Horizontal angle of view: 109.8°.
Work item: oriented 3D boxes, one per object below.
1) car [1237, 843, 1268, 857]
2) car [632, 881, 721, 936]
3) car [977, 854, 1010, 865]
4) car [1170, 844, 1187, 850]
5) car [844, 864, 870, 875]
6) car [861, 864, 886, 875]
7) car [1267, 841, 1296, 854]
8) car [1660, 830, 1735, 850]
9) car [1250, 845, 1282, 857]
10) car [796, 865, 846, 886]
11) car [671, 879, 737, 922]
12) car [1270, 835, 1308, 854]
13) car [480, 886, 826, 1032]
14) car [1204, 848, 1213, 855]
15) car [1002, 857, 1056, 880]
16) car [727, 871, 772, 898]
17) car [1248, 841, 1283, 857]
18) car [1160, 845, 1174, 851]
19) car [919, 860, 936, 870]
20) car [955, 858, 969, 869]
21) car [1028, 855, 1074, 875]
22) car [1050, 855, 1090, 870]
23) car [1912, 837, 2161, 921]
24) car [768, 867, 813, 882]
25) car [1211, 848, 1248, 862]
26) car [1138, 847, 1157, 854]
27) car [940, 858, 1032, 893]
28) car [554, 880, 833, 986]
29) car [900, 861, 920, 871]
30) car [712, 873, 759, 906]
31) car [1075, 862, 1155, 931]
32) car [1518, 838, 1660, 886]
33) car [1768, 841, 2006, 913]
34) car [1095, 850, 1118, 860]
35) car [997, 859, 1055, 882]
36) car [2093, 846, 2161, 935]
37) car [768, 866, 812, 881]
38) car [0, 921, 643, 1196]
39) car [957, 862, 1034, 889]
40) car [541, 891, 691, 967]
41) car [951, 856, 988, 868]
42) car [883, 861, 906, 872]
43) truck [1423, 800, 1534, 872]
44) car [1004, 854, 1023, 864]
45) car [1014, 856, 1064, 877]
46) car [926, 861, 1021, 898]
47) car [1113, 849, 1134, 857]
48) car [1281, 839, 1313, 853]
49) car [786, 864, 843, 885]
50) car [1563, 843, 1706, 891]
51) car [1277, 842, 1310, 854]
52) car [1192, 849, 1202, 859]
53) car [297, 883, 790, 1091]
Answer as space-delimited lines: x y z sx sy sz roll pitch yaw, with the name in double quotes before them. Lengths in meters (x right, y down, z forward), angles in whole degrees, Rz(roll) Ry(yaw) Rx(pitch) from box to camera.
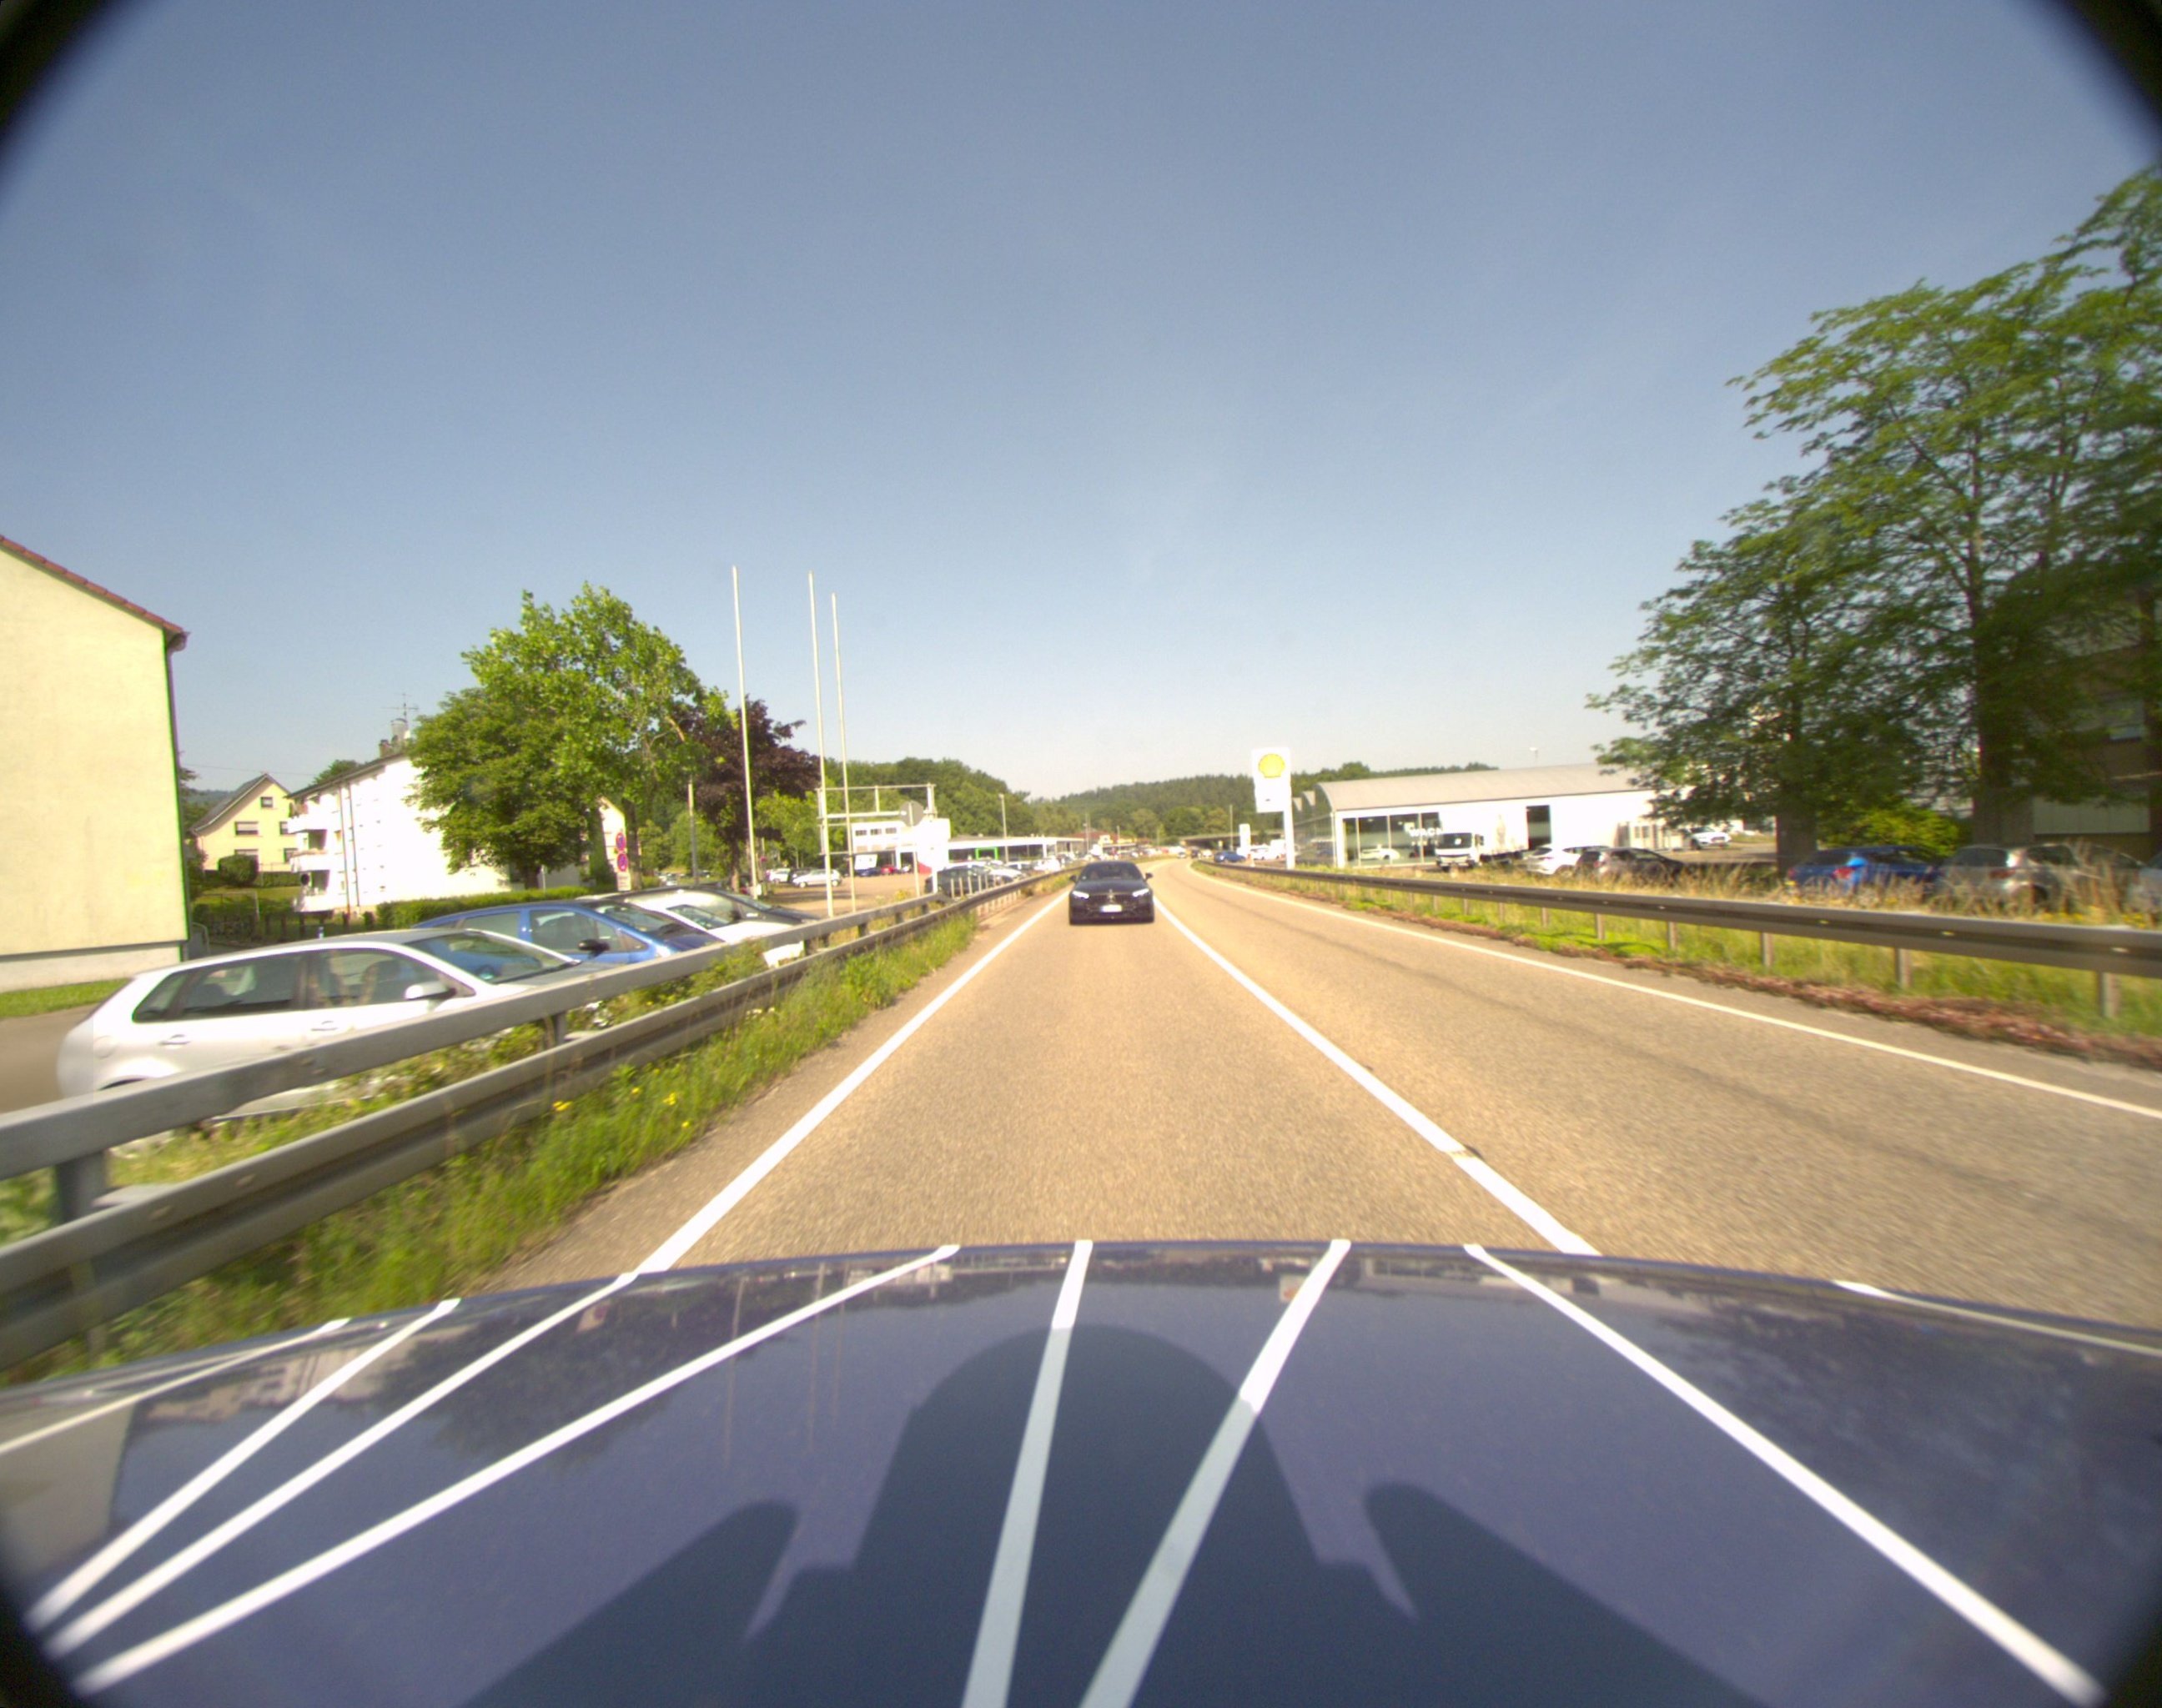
"car" 27.584 -0.672 122.635 4.679 1.847 2.145 -4 0 9
"car" -13.078 1.701 24.835 1.710 1.397 4.477 -3 1 -18
"car" -13.895 0.921 120.455 4.743 1.556 1.933 -1 1 12
"car" 28.464 -2.038 221.493 4.566 1.456 1.879 -1 1 17
"car" -35.241 2.478 119.511 1.836 1.537 4.467 -1 1 15
"car" -32.498 2.352 119.045 1.836 1.537 4.466 -1 1 13
"car" 34.278 -1.147 129.763 4.453 1.829 1.988 -5 0 9
"car" 39.823 -0.868 49.170 1.726 1.193 4.001 -3 0 3
"car" 25.934 -0.361 106.359 4.236 1.395 1.893 -4 1 -30
"car" -21.301 1.717 62.405 3.769 1.513 1.654 -3 1 -19
"car" -14.652 1.758 29.729 1.710 1.397 3.657 -3 1 -18
"car" 34.576 -1.625 126.397 5.731 2.729 2.287 -4 1 11
"car" -6.126 1.466 11.346 3.999 1.441 1.763 -6 1 -8
"car" 30.809 -0.639 183.367 1.795 1.620 4.231 -1 1 13
"car" -4.035 1.112 59.301 3.854 1.559 1.808 -2 1 7
"car" -19.885 1.784 45.734 1.916 1.397 4.518 -3 1 -18
"car" 27.059 -0.736 111.667 4.801 1.970 2.230 -5 0 9
"car" 23.798 -1.670 209.531 3.542 1.456 1.807 -1 1 17
"car" -24.952 1.802 123.643 2.002 1.537 4.608 -2 1 -2
"car" -19.547 1.565 124.422 2.004 1.537 4.604 -2 1 -13
"car" -2.738 1.023 69.906 3.995 1.630 1.888 -2 1 7
"car" -1.220 0.939 83.962 4.167 1.536 1.741 -1 1 8
"car" 20.568 0.492 16.009 3.754 1.491 1.859 -3 1 9
"car" -33.511 2.322 87.785 4.756 1.450 1.928 -2 1 -23
"car" 18.616 0.147 95.340 4.238 1.498 1.981 -2 0 -30
"car" 15.205 -0.810 173.692 4.044 1.499 1.808 -1 1 18
"car" -5.050 1.142 40.558 4.325 1.630 2.142 -2 1 15
"car" -6.679 1.326 13.576 4.072 1.444 1.726 -3 1 -13
"car" -27.772 1.918 123.731 2.002 1.537 4.610 -2 1 2
"car" -17.090 1.723 37.733 1.657 1.358 3.657 -3 1 -18
"car" 0.755 0.939 18.522 1.716 1.382 4.147 0 1 1
"car" 20.325 0.301 30.554 4.361 1.645 1.932 -3 1 0
"car" 19.981 0.547 18.986 3.756 1.491 1.932 -3 1 2
"car" 4.738 0.177 140.759 3.883 1.654 1.842 -1 1 19
"car" -4.061 1.187 56.230 3.995 1.513 1.698 -2 1 7
"car" 20.222 0.574 12.796 3.756 1.452 1.861 -2 1 2
"car" -34.600 2.286 90.372 4.756 1.579 1.928 -2 1 -23
"car" -5.671 1.460 6.110 3.274 1.368 1.547 -5 2 -9
"car" -5.116 1.294 45.948 4.329 1.435 1.629 -2 1 4
"car" -11.331 1.741 18.906 1.790 1.411 4.434 -3 0 -13
"car" -15.925 1.186 108.809 4.743 1.556 1.933 -1 1 12
"car" -30.416 2.027 123.955 2.001 1.537 4.612 -1 1 7
"truck" 22.238 -1.064 42.282 8.227 3.536 2.799 -4 0 -44
"car" -11.287 0.744 126.682 1.934 1.556 4.742 -2 1 -22
"car" -3.532 1.047 64.077 3.996 1.571 1.778 -2 1 2
"car" -5.268 1.247 37.488 4.157 1.474 1.883 -4 1 8
"car" 8.482 -0.211 151.722 3.843 1.450 1.747 -2 1 17
"car" 32.890 -1.220 115.805 4.389 1.797 2.003 -5 0 9
"car" -23.076 1.741 65.983 4.500 1.591 1.838 -3 1 -17
"car" 20.187 0.441 27.835 3.757 1.491 1.932 -3 1 0
"car" 31.733 -0.909 113.514 4.473 1.390 1.968 -4 0 9
"car" 24.320 0.013 159.628 1.917 1.874 4.914 -1 1 10
"car" -5.983 1.411 9.073 4.247 1.563 1.916 -6 2 -10
